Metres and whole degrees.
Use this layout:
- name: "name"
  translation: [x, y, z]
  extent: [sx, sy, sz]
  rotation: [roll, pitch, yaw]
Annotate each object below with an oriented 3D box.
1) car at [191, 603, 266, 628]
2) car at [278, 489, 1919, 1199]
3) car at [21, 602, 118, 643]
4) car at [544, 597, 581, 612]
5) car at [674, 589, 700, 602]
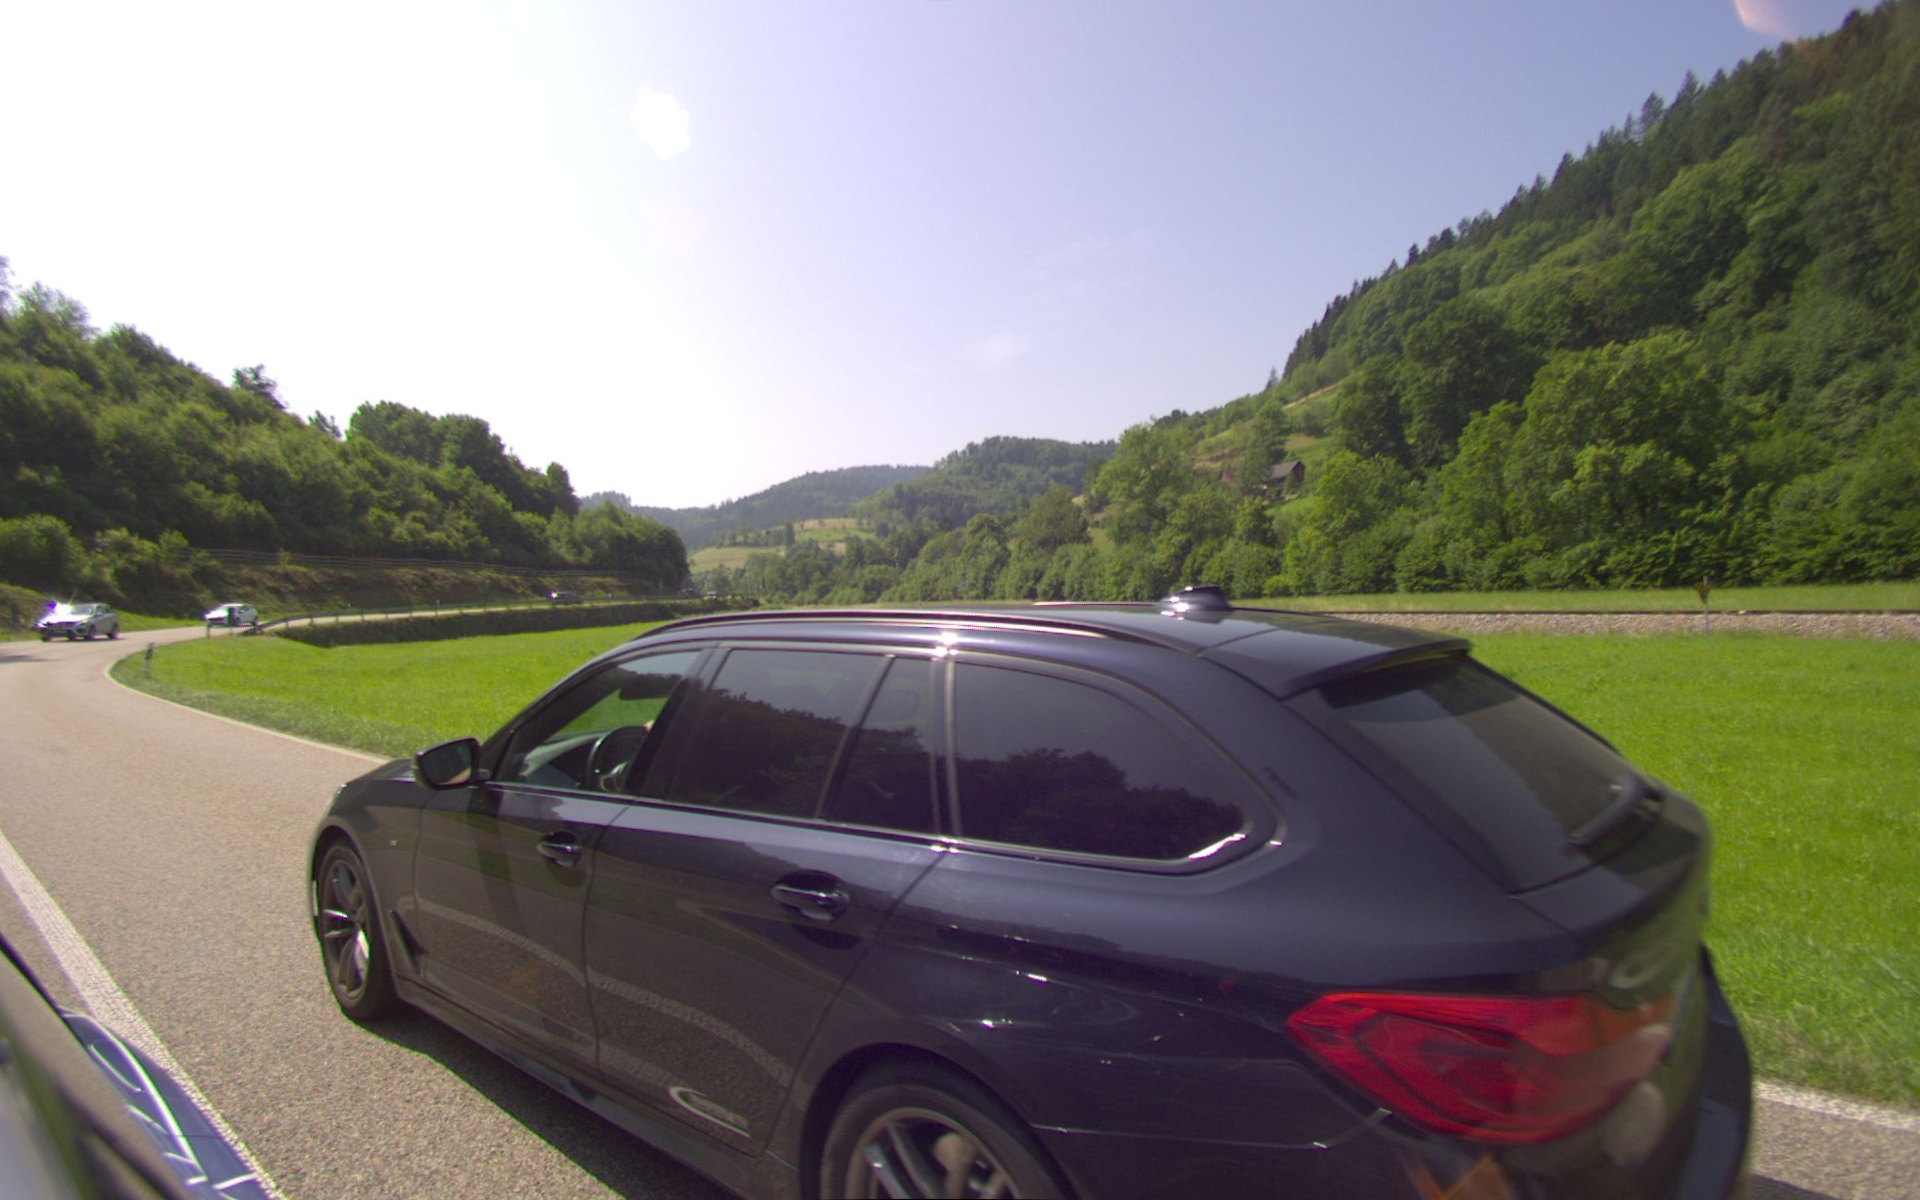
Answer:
- name: "car"
  translation: [-47.863, 1.013, 66.326]
  extent: [2.113, 1.502, 4.681]
  rotation: [-2, -1, -9]
- name: "car"
  translation: [-0.111, 0.692, 2.953]
  extent: [4.506, 1.482, 1.897]
  rotation: [-2, -1, 39]
- name: "car"
  translation: [-42.814, 1.092, 48.792]
  extent: [2.082, 1.828, 4.470]
  rotation: [-1, -1, -21]
- name: "car"
  translation: [-44.508, 0.509, 113.406]
  extent: [1.859, 1.599, 4.586]
  rotation: [-2, -1, 6]
- name: "car"
  translation: [-39.096, -0.587, 144.992]
  extent: [1.932, 1.753, 4.885]
  rotation: [-1, 0, 7]
